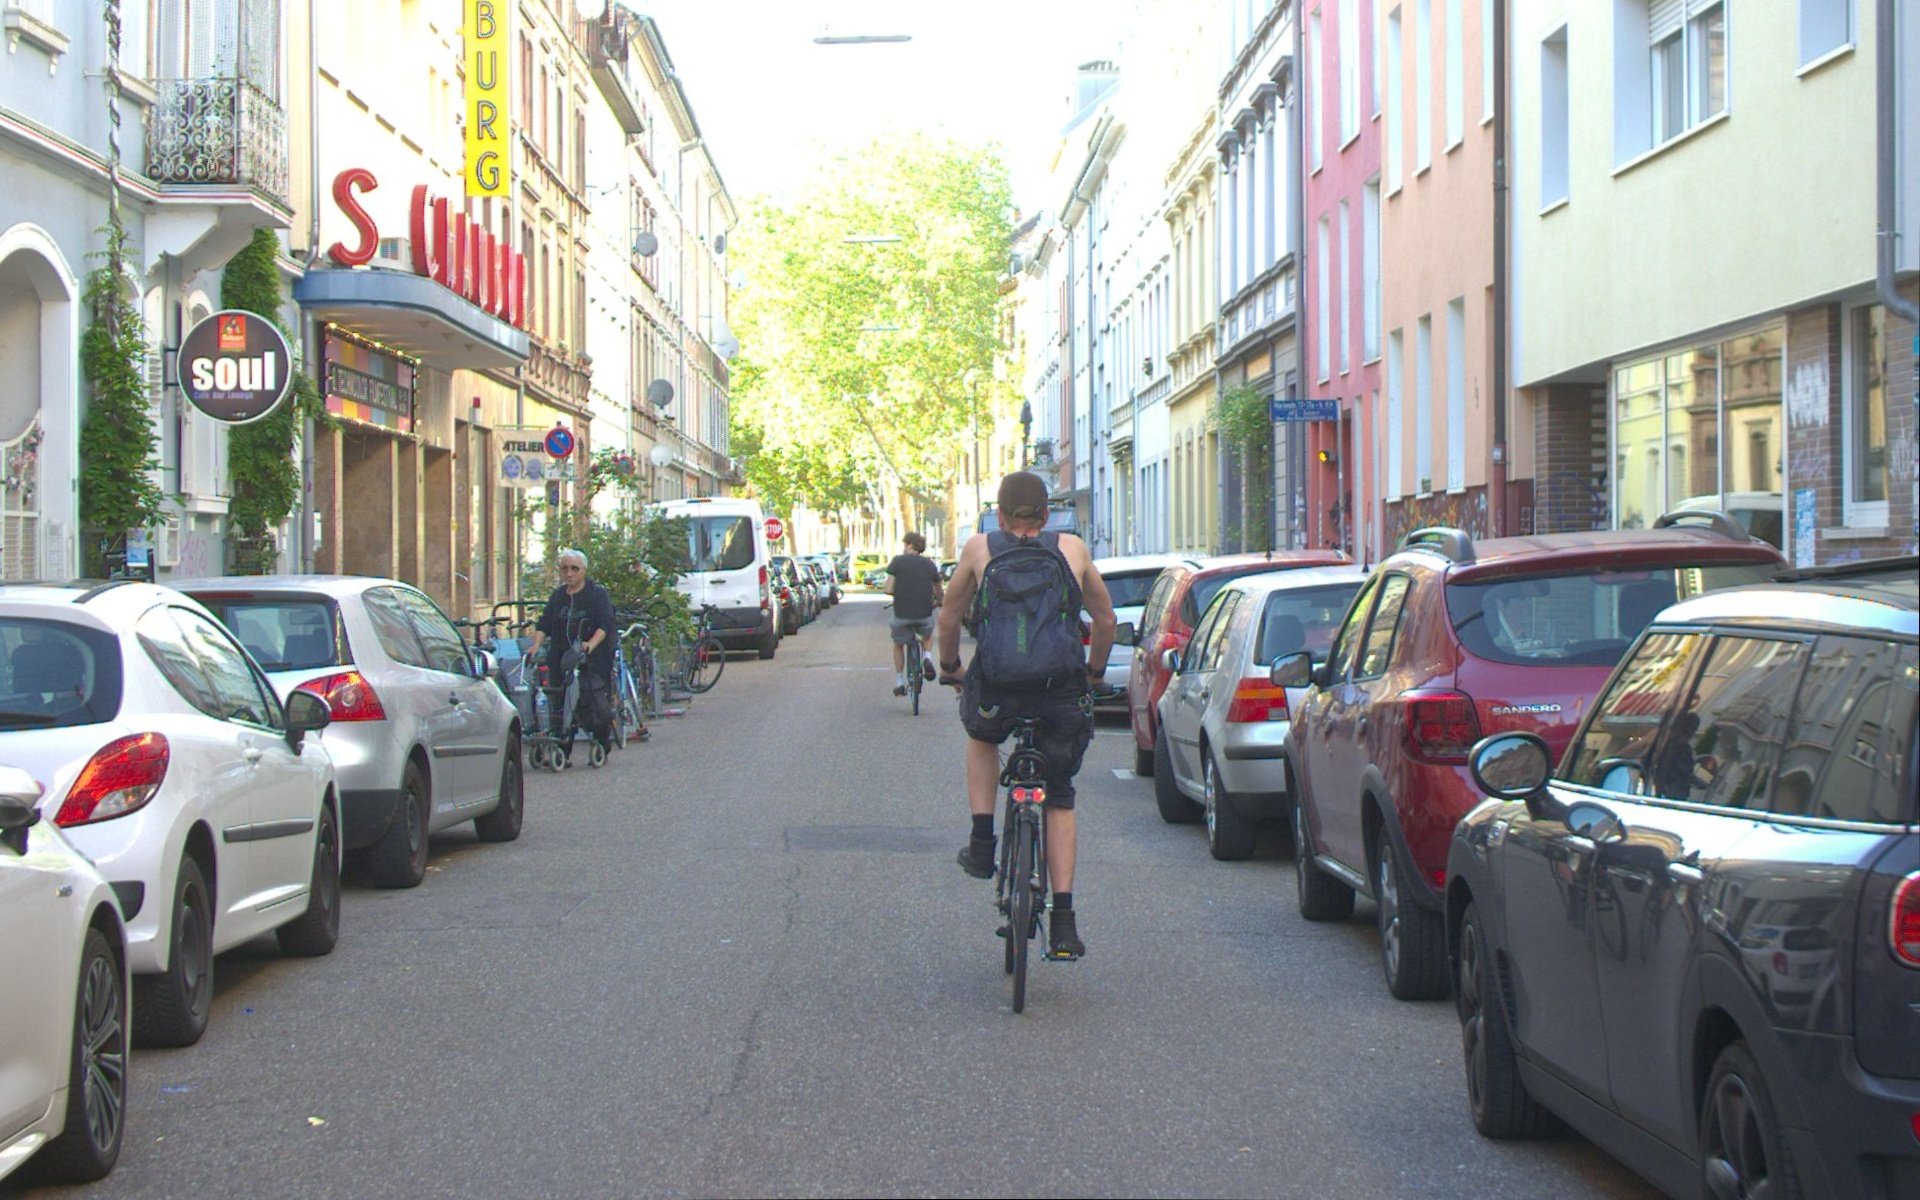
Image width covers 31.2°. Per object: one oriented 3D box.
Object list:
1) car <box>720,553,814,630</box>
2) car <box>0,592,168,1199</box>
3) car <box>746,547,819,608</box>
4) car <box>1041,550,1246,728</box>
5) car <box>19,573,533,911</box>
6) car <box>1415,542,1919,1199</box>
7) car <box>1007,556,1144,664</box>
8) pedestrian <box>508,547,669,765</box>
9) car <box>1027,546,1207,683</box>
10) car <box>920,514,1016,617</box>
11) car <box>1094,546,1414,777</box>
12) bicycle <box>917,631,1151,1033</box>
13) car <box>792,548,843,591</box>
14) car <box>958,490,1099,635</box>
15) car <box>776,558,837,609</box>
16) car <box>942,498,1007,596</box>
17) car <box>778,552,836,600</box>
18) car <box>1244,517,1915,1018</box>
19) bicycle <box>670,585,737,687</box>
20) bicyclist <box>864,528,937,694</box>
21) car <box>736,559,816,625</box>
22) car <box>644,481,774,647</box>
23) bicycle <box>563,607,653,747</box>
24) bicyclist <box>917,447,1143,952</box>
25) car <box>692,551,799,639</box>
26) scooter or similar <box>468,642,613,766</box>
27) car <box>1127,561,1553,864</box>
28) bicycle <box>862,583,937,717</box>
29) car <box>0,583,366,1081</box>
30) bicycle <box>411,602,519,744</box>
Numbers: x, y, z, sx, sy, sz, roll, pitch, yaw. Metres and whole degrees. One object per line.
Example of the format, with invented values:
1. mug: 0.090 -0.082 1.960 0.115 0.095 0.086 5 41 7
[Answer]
1. car: -3.825 -0.179 68.624 1.672 1.437 4.165 -2 0 -1
2. car: -2.829 0.743 6.792 1.672 1.437 4.166 -2 0 -2
3. car: -4.472 -0.564 87.179 1.672 1.437 4.165 -2 0 -1
4. car: 1.710 0.341 33.160 1.620 1.545 4.000 -2 0 -1
5. car: -3.275 0.618 17.160 1.672 1.437 3.753 -2 0 2
6. car: 2.225 0.629 7.429 1.817 1.516 4.000 -2 0 -1
7. car: 1.640 0.130 49.932 1.710 1.442 4.000 -2 0 -1
8. pedestrian: -2.758 0.405 25.495 0.897 1.573 0.773 1 0 -37
9. car: 1.713 0.145 38.613 1.710 1.389 4.000 -2 0 -1
10. car: 0.164 -0.904 91.072 2.307 2.529 6.770 -2 0 -1
11. car: 1.921 0.373 23.534 1.710 1.378 4.000 -2 0 -1
12. bicycle: 0.216 0.734 11.870 0.702 1.204 2.342 1 0 -1
13. car: -5.066 -1.086 122.509 1.672 1.437 4.165 -2 0 -1
14. car: 1.239 -0.696 65.633 2.307 2.529 6.770 -2 0 -1
15. car: -4.568 -0.501 102.714 1.672 1.437 4.165 -2 0 -1
16. car: 0.558 -2.092 138.458 2.307 3.755 6.770 -2 0 -1
17. car: -4.876 -0.767 109.935 1.672 1.437 4.165 -2 0 -1
18. car: 2.174 0.530 13.140 1.710 1.551 4.000 -2 0 -1
19. bicycle: -3.057 0.408 40.853 0.758 1.159 2.275 1 0 -5
20. bicyclist: -0.589 0.095 33.824 0.702 1.599 0.813 -1 2 -1
21. car: -4.320 -0.200 81.158 1.672 1.437 4.165 -2 0 -1
22. car: -3.914 -0.575 54.137 1.909 2.488 4.166 -1 1 -3
23. bicycle: -2.950 0.626 28.954 0.699 1.102 2.275 1 0 -5
24. bicyclist: 0.219 0.319 11.681 0.702 1.628 1.090 1 0 -1
25. car: -3.776 -0.103 61.122 1.672 1.437 4.165 -2 0 -1
26. scooter or similar: -3.085 0.755 25.265 0.768 0.870 0.773 1 0 -37
27. car: 1.915 0.527 18.429 1.710 1.378 4.000 -2 0 -1
28. bicycle: -0.606 0.472 33.948 0.702 1.203 2.342 -1 2 -1
29. car: -3.221 0.696 11.969 1.672 1.437 3.768 -2 0 -1
30. bicycle: -4.164 0.593 29.051 0.758 1.130 2.275 1 0 -5
